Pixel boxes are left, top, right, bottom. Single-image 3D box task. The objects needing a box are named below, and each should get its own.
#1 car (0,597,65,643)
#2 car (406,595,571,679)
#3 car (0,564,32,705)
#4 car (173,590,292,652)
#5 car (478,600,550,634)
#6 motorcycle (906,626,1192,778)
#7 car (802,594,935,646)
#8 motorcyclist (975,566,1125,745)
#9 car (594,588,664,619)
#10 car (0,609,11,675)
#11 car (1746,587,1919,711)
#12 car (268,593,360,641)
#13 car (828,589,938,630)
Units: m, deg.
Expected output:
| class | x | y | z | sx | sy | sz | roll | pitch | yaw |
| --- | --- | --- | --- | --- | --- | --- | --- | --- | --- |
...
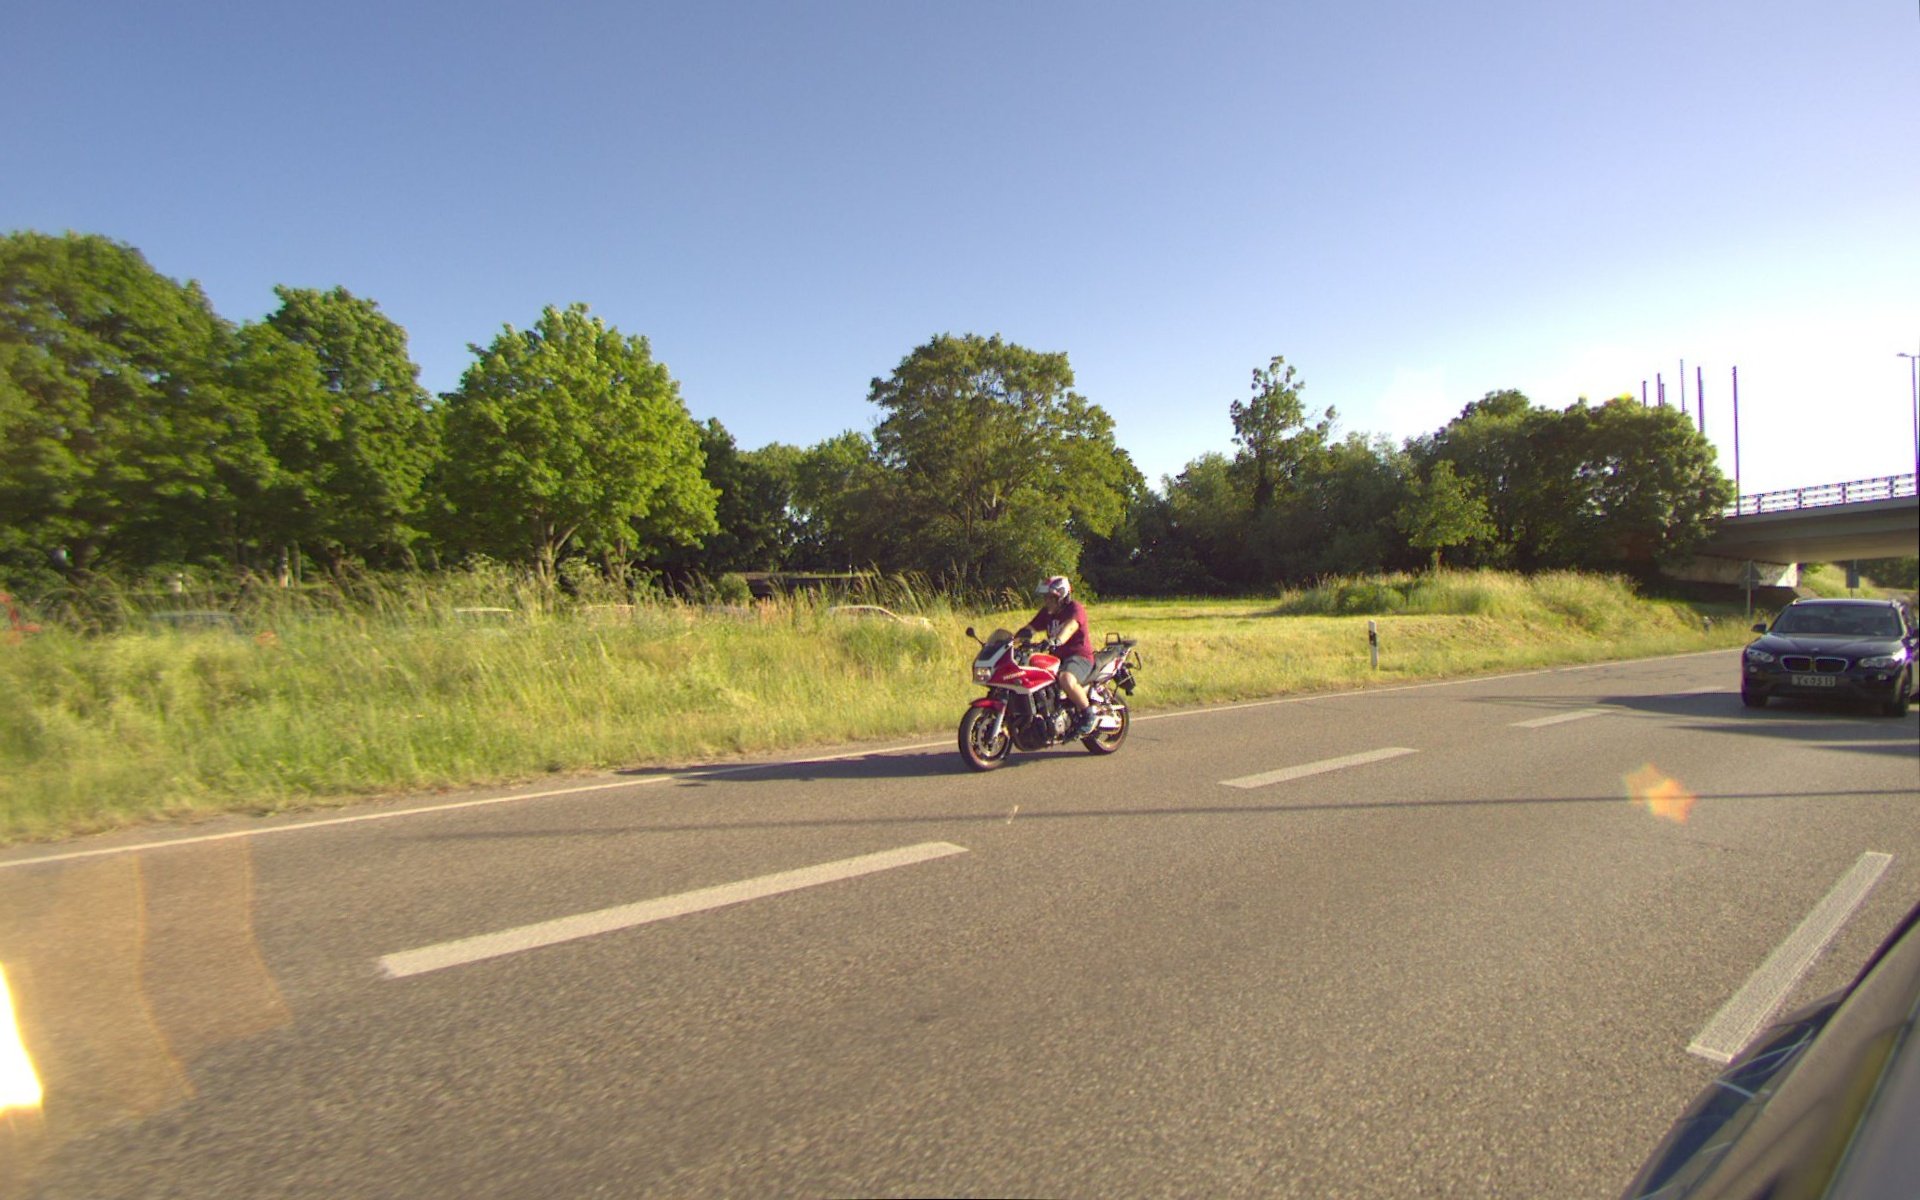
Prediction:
| class | x | y | z | sx | sy | sz | roll | pitch | yaw |
| --- | --- | --- | --- | --- | --- | --- | --- | --- | --- |
| car | -34.567 | 0.738 | 37.742 | 1.757 | 1.580 | 4.218 | -2 | 0 | -42 |
| car | -9.836 | 0.688 | 20.988 | 1.893 | 1.477 | 3.934 | -4 | 3 | -44 |
| car | -16.136 | 0.551 | 15.981 | 1.994 | 2.048 | 4.792 | -4 | 3 | -44 |
| car | -19.647 | 0.505 | 27.276 | 1.991 | 1.441 | 4.113 | -4 | 3 | -44 |
| car | -21.479 | 0.790 | 48.640 | 1.836 | 1.441 | 4.113 | -4 | 3 | -44 |
| motorcycle | 0.879 | 0.821 | 9.036 | 2.785 | 1.083 | 0.818 | -1 | 1 | -40 |
| car | -2.784 | 0.606 | 31.323 | 3.922 | 1.322 | 1.993 | -2 | 2 | -2 |
| motorcyclist | 0.801 | 0.448 | 8.981 | 1.074 | 1.465 | 0.818 | 0 | 0 | -40 |
| car | -17.127 | 0.177 | 52.261 | 1.836 | 1.441 | 4.113 | -4 | 3 | -44 |
| car | -23.750 | 1.014 | 23.808 | 1.991 | 1.476 | 4.113 | -4 | 3 | -44 |
| car | 13.073 | 0.591 | 14.770 | 4.499 | 1.525 | 1.701 | -1 | 0 | -41 |
| car | -21.989 | 0.526 | 34.401 | 1.836 | 1.441 | 4.113 | -4 | 3 | -44 |
| car | -2.960 | 0.345 | 38.817 | 4.028 | 1.322 | 2.003 | -3 | 2 | -5 |
